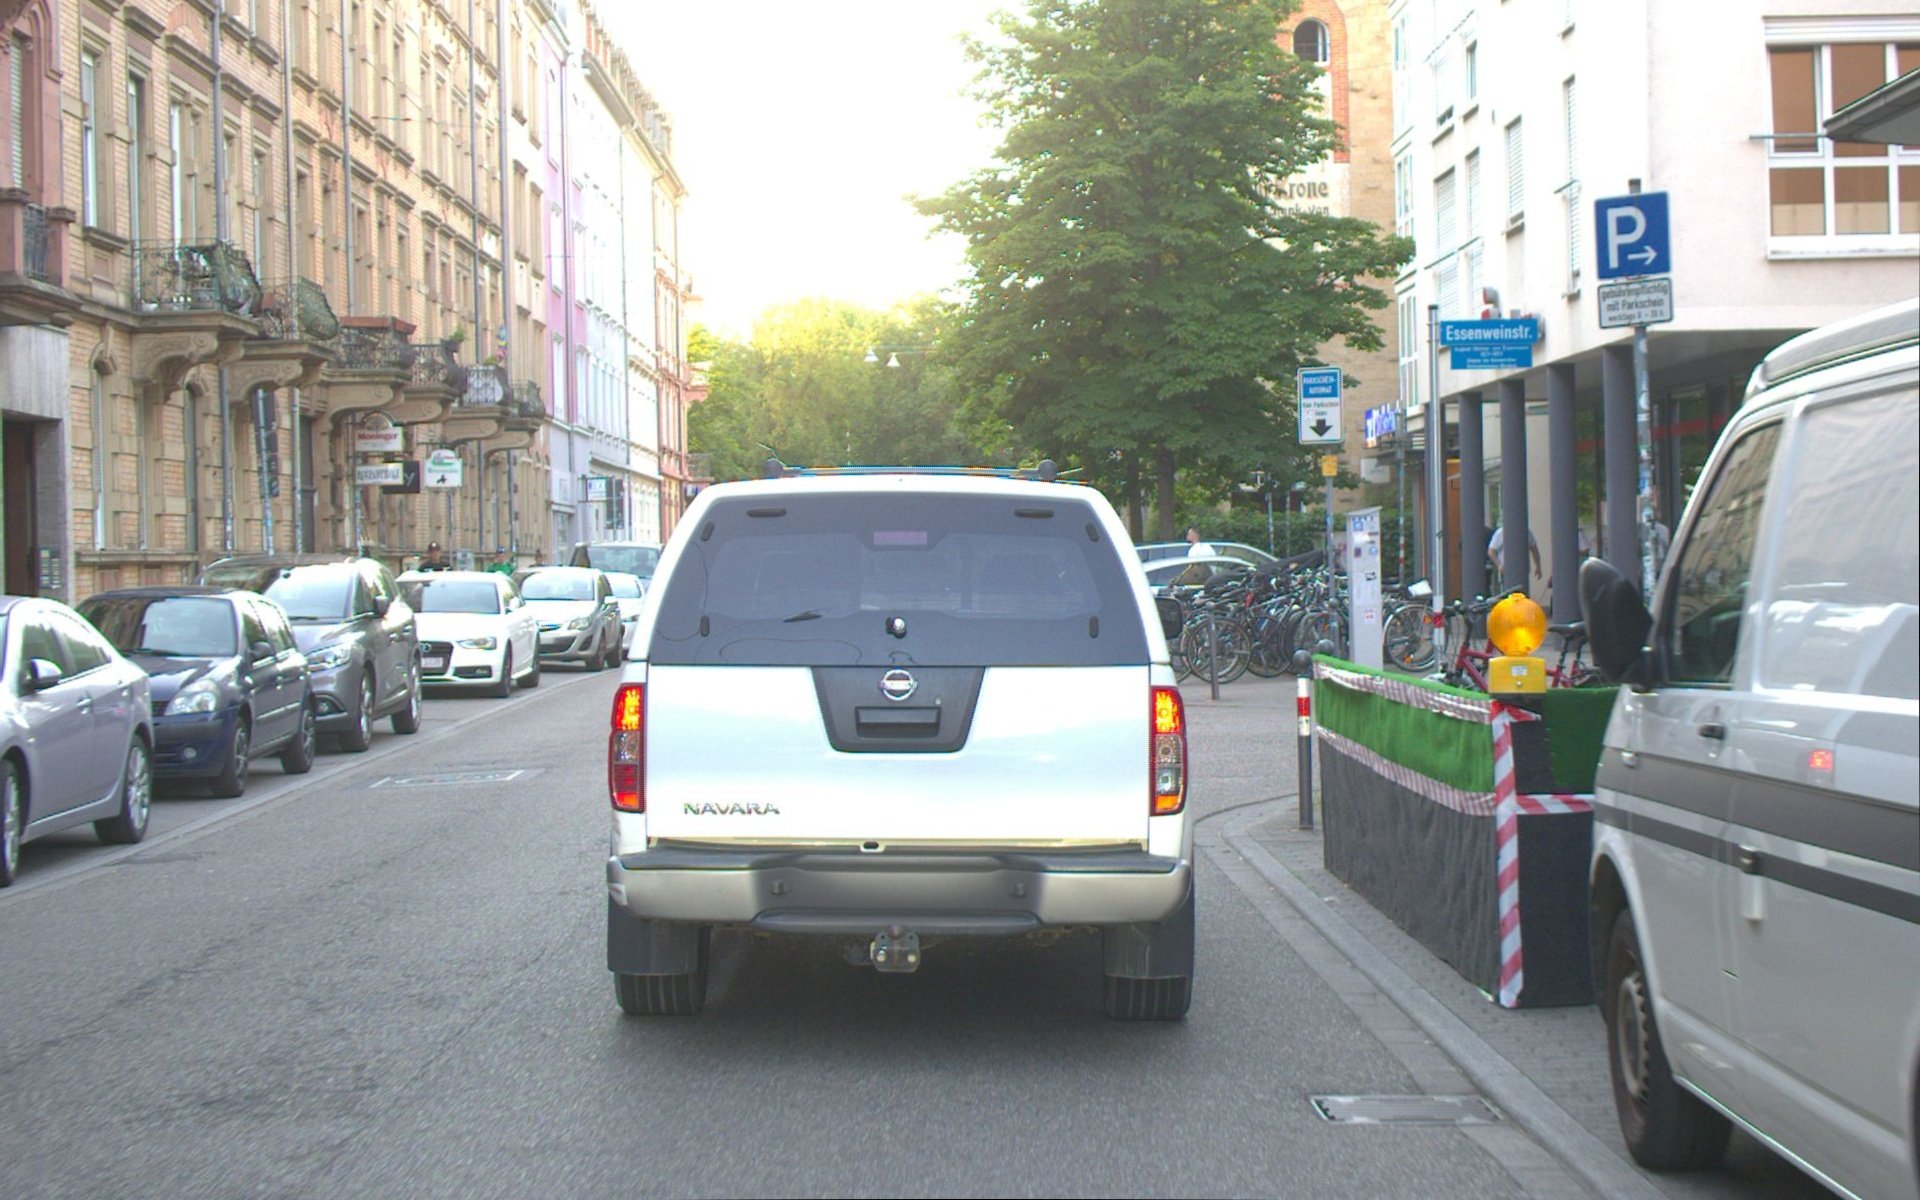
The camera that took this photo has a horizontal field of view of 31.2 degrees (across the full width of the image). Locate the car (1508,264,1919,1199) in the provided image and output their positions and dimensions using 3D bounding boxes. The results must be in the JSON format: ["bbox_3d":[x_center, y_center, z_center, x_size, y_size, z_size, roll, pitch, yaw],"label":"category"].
[{"bbox_3d":[2.511,0.384,6.776,1.959,1.967,5.003,-3,1,0],"label":"car"}]

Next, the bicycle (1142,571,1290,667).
[{"bbox_3d":[3.142,0.229,42.320,1.719,1.028,0.667,-5,0,3],"label":"bicycle"}]

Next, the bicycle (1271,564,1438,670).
[{"bbox_3d":[4.302,0.186,37.568,1.722,1.050,0.653,-3,0,3],"label":"bicycle"}]

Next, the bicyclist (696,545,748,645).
[{"bbox_3d":[-3.960,-0.093,57.161,0.645,1.615,0.918,-3,1,6],"label":"bicyclist"}]

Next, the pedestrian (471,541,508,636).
[{"bbox_3d":[-8.937,-0.216,65.311,0.580,1.765,0.998,2,1,-4],"label":"pedestrian"}]

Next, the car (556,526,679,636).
[{"bbox_3d":[-6.247,-0.363,63.108,1.993,1.917,4.952,1,1,-3],"label":"car"}]

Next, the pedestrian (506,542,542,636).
[{"bbox_3d":[-8.312,-0.212,65.542,0.605,1.766,0.777,2,1,-4],"label":"pedestrian"}]

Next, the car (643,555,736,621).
[{"bbox_3d":[-6.334,-0.288,80.882,1.834,1.453,4.207,2,0,0],"label":"car"}]

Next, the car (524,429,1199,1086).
[{"bbox_3d":[-0.123,0.433,12.389,1.911,1.847,5.270,0,0,4],"label":"car"}]

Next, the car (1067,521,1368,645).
[{"bbox_3d":[3.924,-0.270,52.868,4.398,1.642,1.746,-3,1,-1],"label":"car"}]

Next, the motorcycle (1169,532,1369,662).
[{"bbox_3d":[4.045,-0.037,45.098,2.492,1.544,0.824,-4,0,3],"label":"motorcycle"}]

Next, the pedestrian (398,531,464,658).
[{"bbox_3d":[-7.389,-0.071,48.033,0.554,1.749,1.021,-1,-1,14],"label":"pedestrian"}]

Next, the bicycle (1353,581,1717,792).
[{"bbox_3d":[3.316,0.512,19.930,1.942,1.131,0.656,-3,0,37],"label":"bicycle"}]

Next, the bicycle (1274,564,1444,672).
[{"bbox_3d":[4.271,0.189,36.896,1.722,1.050,0.653,-3,0,3],"label":"bicycle"}]

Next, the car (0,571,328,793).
[{"bbox_3d":[-5.653,0.527,24.493,1.585,1.416,3.696,0,1,0],"label":"car"}]

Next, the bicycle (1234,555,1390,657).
[{"bbox_3d":[4.203,0.076,41.098,1.722,1.114,0.654,-3,0,-3],"label":"bicycle"}]

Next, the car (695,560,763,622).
[{"bbox_3d":[-6.501,-0.263,97.040,1.844,1.653,4.253,-1,0,-3],"label":"car"}]

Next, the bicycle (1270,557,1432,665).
[{"bbox_3d":[4.394,0.125,38.725,1.722,1.114,0.653,-3,0,3],"label":"bicycle"}]

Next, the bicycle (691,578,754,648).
[{"bbox_3d":[-3.943,0.201,57.158,0.645,1.077,2.168,-3,1,6],"label":"bicycle"}]

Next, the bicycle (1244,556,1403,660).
[{"bbox_3d":[4.262,0.090,40.377,1.722,1.114,0.654,-3,0,-3],"label":"bicycle"}]

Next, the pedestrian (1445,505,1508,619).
[{"bbox_3d":[8.018,-0.589,53.401,0.727,1.710,0.963,-3,0,0],"label":"pedestrian"}]

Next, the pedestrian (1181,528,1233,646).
[{"bbox_3d":[3.686,-0.185,51.338,0.625,1.747,0.588,0,-1,-12],"label":"pedestrian"}]

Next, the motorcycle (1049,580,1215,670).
[{"bbox_3d":[2.302,0.331,46.002,2.057,1.074,0.664,-3,0,-15],"label":"motorcycle"}]

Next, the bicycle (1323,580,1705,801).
[{"bbox_3d":[3.044,0.508,18.988,1.942,1.131,0.656,-3,0,37],"label":"bicycle"}]

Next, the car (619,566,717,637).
[{"bbox_3d":[-6.087,0.033,72.070,1.736,1.413,4.779,1,0,-1],"label":"car"}]

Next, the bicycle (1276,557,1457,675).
[{"bbox_3d":[4.243,0.162,35.870,1.722,1.128,0.579,-3,0,-12],"label":"bicycle"}]

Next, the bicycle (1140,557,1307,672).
[{"bbox_3d":[3.076,0.167,40.107,1.789,1.178,0.733,-5,0,10],"label":"bicycle"}]

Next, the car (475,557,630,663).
[{"bbox_3d":[-5.877,0.110,49.903,1.717,1.452,4.000,1,1,1],"label":"car"}]

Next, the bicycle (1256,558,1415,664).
[{"bbox_3d":[4.282,0.122,39.295,1.722,1.114,0.653,-3,0,3],"label":"bicycle"}]

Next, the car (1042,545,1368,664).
[{"bbox_3d":[3.539,0.050,50.107,4.422,1.450,1.780,-3,1,-6],"label":"car"}]

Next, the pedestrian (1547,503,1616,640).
[{"bbox_3d":[7.983,-0.373,44.132,0.663,1.717,0.662,-1,2,27],"label":"pedestrian"}]

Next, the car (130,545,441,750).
[{"bbox_3d":[-5.764,0.347,29.883,1.853,1.628,4.446,0,1,0],"label":"car"}]

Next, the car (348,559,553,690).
[{"bbox_3d":[-5.894,0.246,40.218,1.758,1.407,4.509,0,1,0],"label":"car"}]

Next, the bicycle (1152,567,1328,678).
[{"bbox_3d":[3.078,0.244,37.945,1.809,1.114,0.707,-3,0,-2],"label":"bicycle"}]

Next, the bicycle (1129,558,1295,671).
[{"bbox_3d":[3.002,0.174,40.950,1.869,1.178,0.743,-5,0,5],"label":"bicycle"}]

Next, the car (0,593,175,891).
[{"bbox_3d":[-5.508,0.683,18.162,1.722,1.416,4.582,0,0,-1],"label":"car"}]

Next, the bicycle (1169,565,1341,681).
[{"bbox_3d":[3.104,0.239,36.294,1.722,1.114,0.707,-3,0,3],"label":"bicycle"}]

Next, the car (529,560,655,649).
[{"bbox_3d":[-6.132,0.047,57.682,1.783,1.418,4.486,1,1,-2],"label":"car"}]

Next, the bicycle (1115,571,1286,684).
[{"bbox_3d":[2.595,0.293,37.155,1.722,1.114,0.707,-3,0,-2],"label":"bicycle"}]
